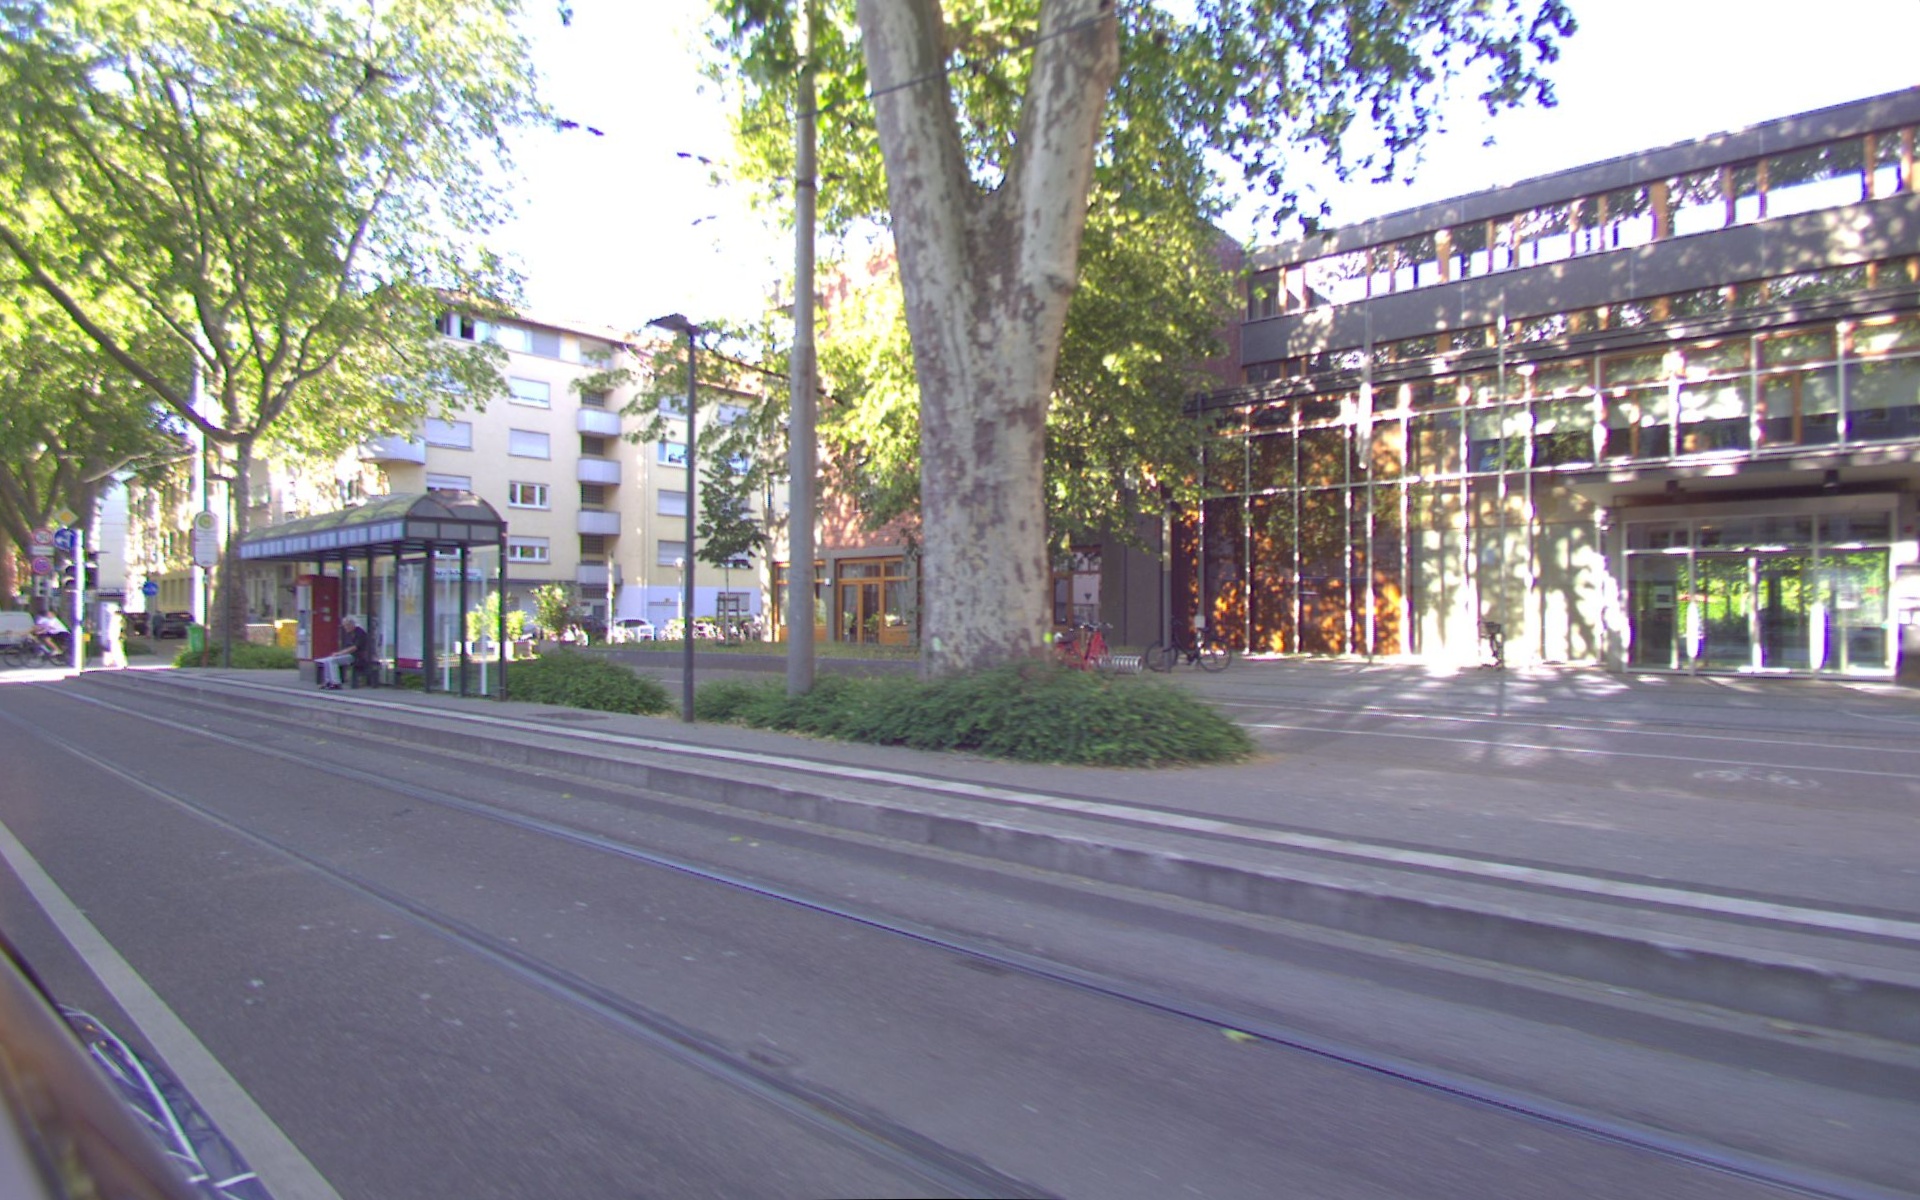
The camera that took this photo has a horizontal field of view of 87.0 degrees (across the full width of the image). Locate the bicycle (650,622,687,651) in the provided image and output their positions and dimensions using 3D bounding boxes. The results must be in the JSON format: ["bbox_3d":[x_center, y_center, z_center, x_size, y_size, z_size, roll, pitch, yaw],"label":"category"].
[{"bbox_3d":[-11.328,1.419,39.295,1.637,1.092,0.536,-2,-2,40],"label":"bicycle"}]

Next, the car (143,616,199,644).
[{"bbox_3d":[-51.044,1.897,65.427,4.896,1.746,1.973,-1,0,41],"label":"car"}]

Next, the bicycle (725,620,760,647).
[{"bbox_3d":[-8.990,1.383,41.854,1.637,1.092,0.536,-1,0,40],"label":"bicycle"}]

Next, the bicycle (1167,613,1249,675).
[{"bbox_3d":[5.117,0.891,20.914,1.477,1.228,0.683,0,0,-7],"label":"bicycle"}]

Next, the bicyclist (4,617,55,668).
[{"bbox_3d":[-29.324,1.331,31.911,0.976,1.559,0.684,0,0,-19],"label":"bicyclist"}]

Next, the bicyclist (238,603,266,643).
[{"bbox_3d":[-31.424,1.019,44.897,0.996,1.763,0.767,-1,0,39],"label":"bicyclist"}]

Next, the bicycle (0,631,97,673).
[{"bbox_3d":[-27.922,1.569,30.674,2.551,1.200,0.787,0,0,-28],"label":"bicycle"}]

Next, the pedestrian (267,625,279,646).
[{"bbox_3d":[-36.700,1.892,54.071,0.436,1.114,0.417,-1,0,31],"label":"pedestrian"}]

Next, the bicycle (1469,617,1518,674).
[{"bbox_3d":[10.991,0.907,20.895,0.760,1.081,1.930,-1,0,24],"label":"bicycle"}]

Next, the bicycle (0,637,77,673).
[{"bbox_3d":[-29.341,1.724,31.902,2.176,1.078,0.684,0,0,-19],"label":"bicycle"}]

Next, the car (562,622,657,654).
[{"bbox_3d":[-17.168,1.839,49.652,1.998,1.386,3.947,-1,0,40],"label":"car"}]

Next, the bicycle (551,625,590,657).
[{"bbox_3d":[-14.004,1.488,36.356,1.637,1.092,0.536,-4,-2,40],"label":"bicycle"}]

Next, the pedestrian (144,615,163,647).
[{"bbox_3d":[-48.035,1.848,60.293,0.863,1.883,0.737,-1,0,39],"label":"pedestrian"}]

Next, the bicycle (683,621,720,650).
[{"bbox_3d":[-10.298,1.411,40.281,1.637,1.092,0.536,-1,0,40],"label":"bicycle"}]

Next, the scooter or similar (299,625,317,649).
[{"bbox_3d":[-31.855,1.803,49.423,0.633,1.176,0.677,0,0,-23],"label":"scooter or similar"}]

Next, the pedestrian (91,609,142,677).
[{"bbox_3d":[-23.647,1.196,28.365,0.918,1.849,0.915,-1,0,37],"label":"pedestrian"}]

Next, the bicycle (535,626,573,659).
[{"bbox_3d":[-14.401,1.513,35.879,1.535,1.092,0.536,-4,-3,40],"label":"bicycle"}]

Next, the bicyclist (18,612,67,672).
[{"bbox_3d":[-27.843,1.246,30.715,0.934,1.776,0.787,0,0,-28],"label":"bicyclist"}]

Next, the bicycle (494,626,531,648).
[{"bbox_3d":[-22.793,1.869,51.576,0.543,1.092,1.616,-2,-2,42],"label":"bicycle"}]

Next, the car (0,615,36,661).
[{"bbox_3d":[-41.629,1.615,43.858,4.314,1.864,1.746,-1,0,39],"label":"car"}]

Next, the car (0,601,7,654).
[{"bbox_3d":[-49.765,1.381,51.031,6.024,2.597,2.085,-1,0,43],"label":"car"}]

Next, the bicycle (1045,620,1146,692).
[{"bbox_3d":[2.537,1.001,18.721,0.682,1.175,2.316,-1,0,41],"label":"bicycle"}]

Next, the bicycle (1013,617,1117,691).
[{"bbox_3d":[2.033,0.983,19.308,0.682,1.228,2.432,-1,1,41],"label":"bicycle"}]

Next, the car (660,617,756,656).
[{"bbox_3d":[-11.699,1.663,47.145,1.959,1.674,3.947,-1,-1,40],"label":"car"}]

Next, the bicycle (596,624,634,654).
[{"bbox_3d":[-12.808,1.450,37.536,1.637,1.092,0.536,-3,-2,40],"label":"bicycle"}]

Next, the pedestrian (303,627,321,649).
[{"bbox_3d":[-31.661,1.836,49.461,0.710,1.055,0.572,-1,0,39],"label":"pedestrian"}]

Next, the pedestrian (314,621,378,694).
[{"bbox_3d":[-10.221,0.943,16.853,0.658,1.177,0.698,-1,-2,38],"label":"pedestrian"}]

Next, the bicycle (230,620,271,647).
[{"bbox_3d":[-31.582,1.482,45.025,2.593,1.119,0.775,-1,0,38],"label":"bicycle"}]

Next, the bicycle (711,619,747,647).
[{"bbox_3d":[-9.418,1.328,41.275,1.637,1.092,0.536,-1,0,40],"label":"bicycle"}]
